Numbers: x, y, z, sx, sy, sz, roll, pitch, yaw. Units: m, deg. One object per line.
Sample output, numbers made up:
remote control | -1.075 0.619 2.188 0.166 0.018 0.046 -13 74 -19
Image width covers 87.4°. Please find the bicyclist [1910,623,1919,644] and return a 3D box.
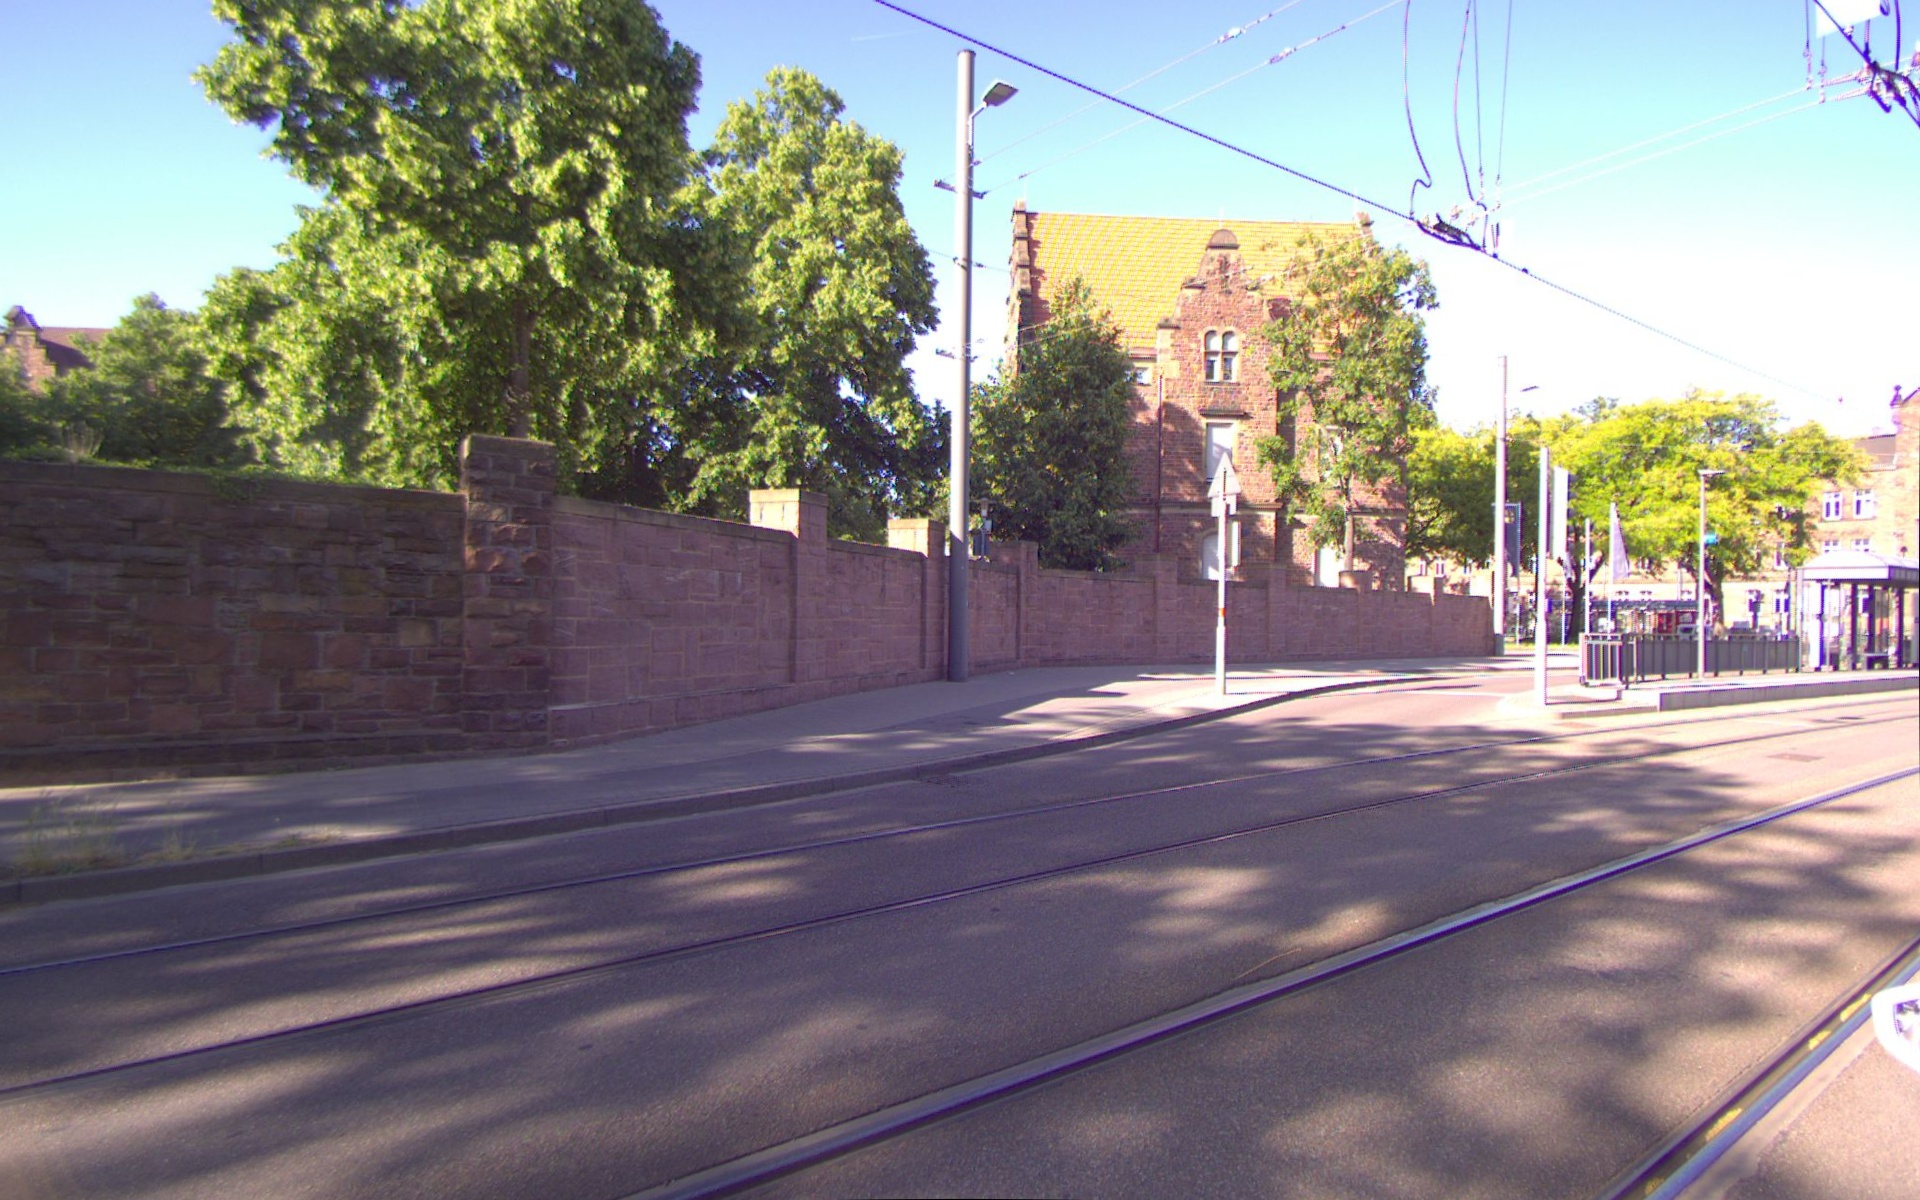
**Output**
bicyclist | 67.577 2.382 70.776 0.510 1.449 0.754 2 0 -32

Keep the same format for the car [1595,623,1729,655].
car | 47.931 2.605 68.801 2.957 1.946 6.915 1 -1 -30

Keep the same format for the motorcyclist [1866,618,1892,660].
motorcyclist | 37.367 1.579 40.851 0.836 1.643 0.609 1 0 -35

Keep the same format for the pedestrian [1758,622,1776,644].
pedestrian | 59.893 2.442 74.536 0.799 1.610 0.923 1 1 -42

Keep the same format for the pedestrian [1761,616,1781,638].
pedestrian | 60.264 2.024 74.603 0.795 1.609 0.927 1 0 -31

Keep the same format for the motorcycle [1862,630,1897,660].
motorcycle | 37.444 1.823 40.908 2.054 1.214 0.607 1 -1 -35
